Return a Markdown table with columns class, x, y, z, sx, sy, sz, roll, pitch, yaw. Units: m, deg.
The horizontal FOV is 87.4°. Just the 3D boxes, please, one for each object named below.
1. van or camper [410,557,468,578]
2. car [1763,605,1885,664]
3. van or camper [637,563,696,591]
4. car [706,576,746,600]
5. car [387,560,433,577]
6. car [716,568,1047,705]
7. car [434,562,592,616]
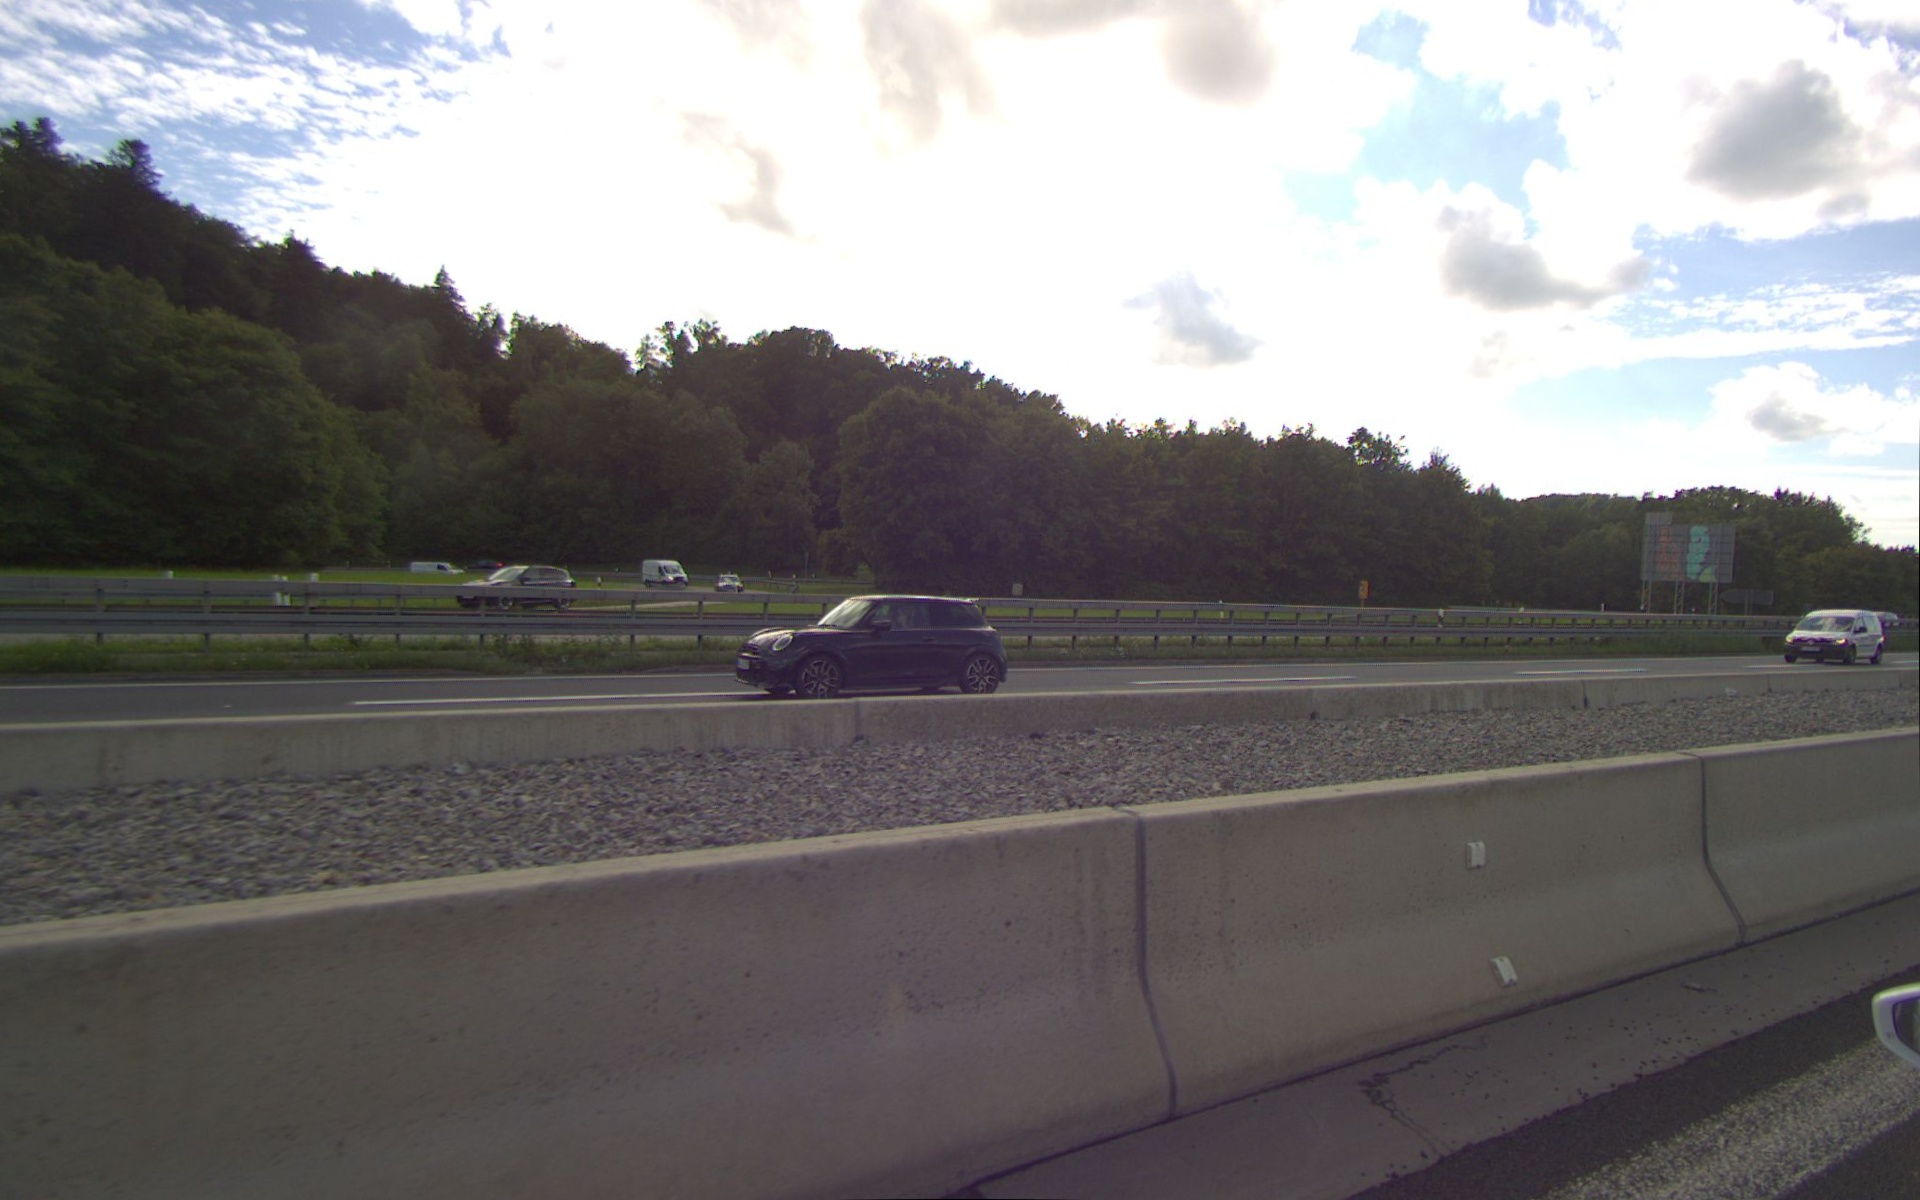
| class | x | y | z | sx | sy | sz | roll | pitch | yaw |
| --- | --- | --- | --- | --- | --- | --- | --- | --- | --- |
| van or camper | -52.995 | -3.301 | 102.257 | 5.033 | 1.883 | 1.814 | 2 | 1 | 5 |
| car | 29.483 | 1.155 | 34.258 | 4.193 | 1.839 | 1.983 | 1 | 1 | -32 |
| van or camper | -25.145 | -1.971 | 85.928 | 5.649 | 2.279 | 2.095 | 3 | 1 | 42 |
| car | -15.721 | -0.816 | 67.438 | 1.708 | 1.470 | 4.276 | 1 | 1 | -26 |
| car | -56.537 | -3.254 | 103.352 | 3.815 | 1.656 | 1.678 | 2 | 1 | 4 |
| car | -1.093 | 0.483 | 14.468 | 4.321 | 1.714 | 1.984 | 1 | 0 | -30 |
| car | -16.481 | -0.394 | 37.364 | 2.354 | 1.795 | 5.242 | 2 | 1 | 21 |
